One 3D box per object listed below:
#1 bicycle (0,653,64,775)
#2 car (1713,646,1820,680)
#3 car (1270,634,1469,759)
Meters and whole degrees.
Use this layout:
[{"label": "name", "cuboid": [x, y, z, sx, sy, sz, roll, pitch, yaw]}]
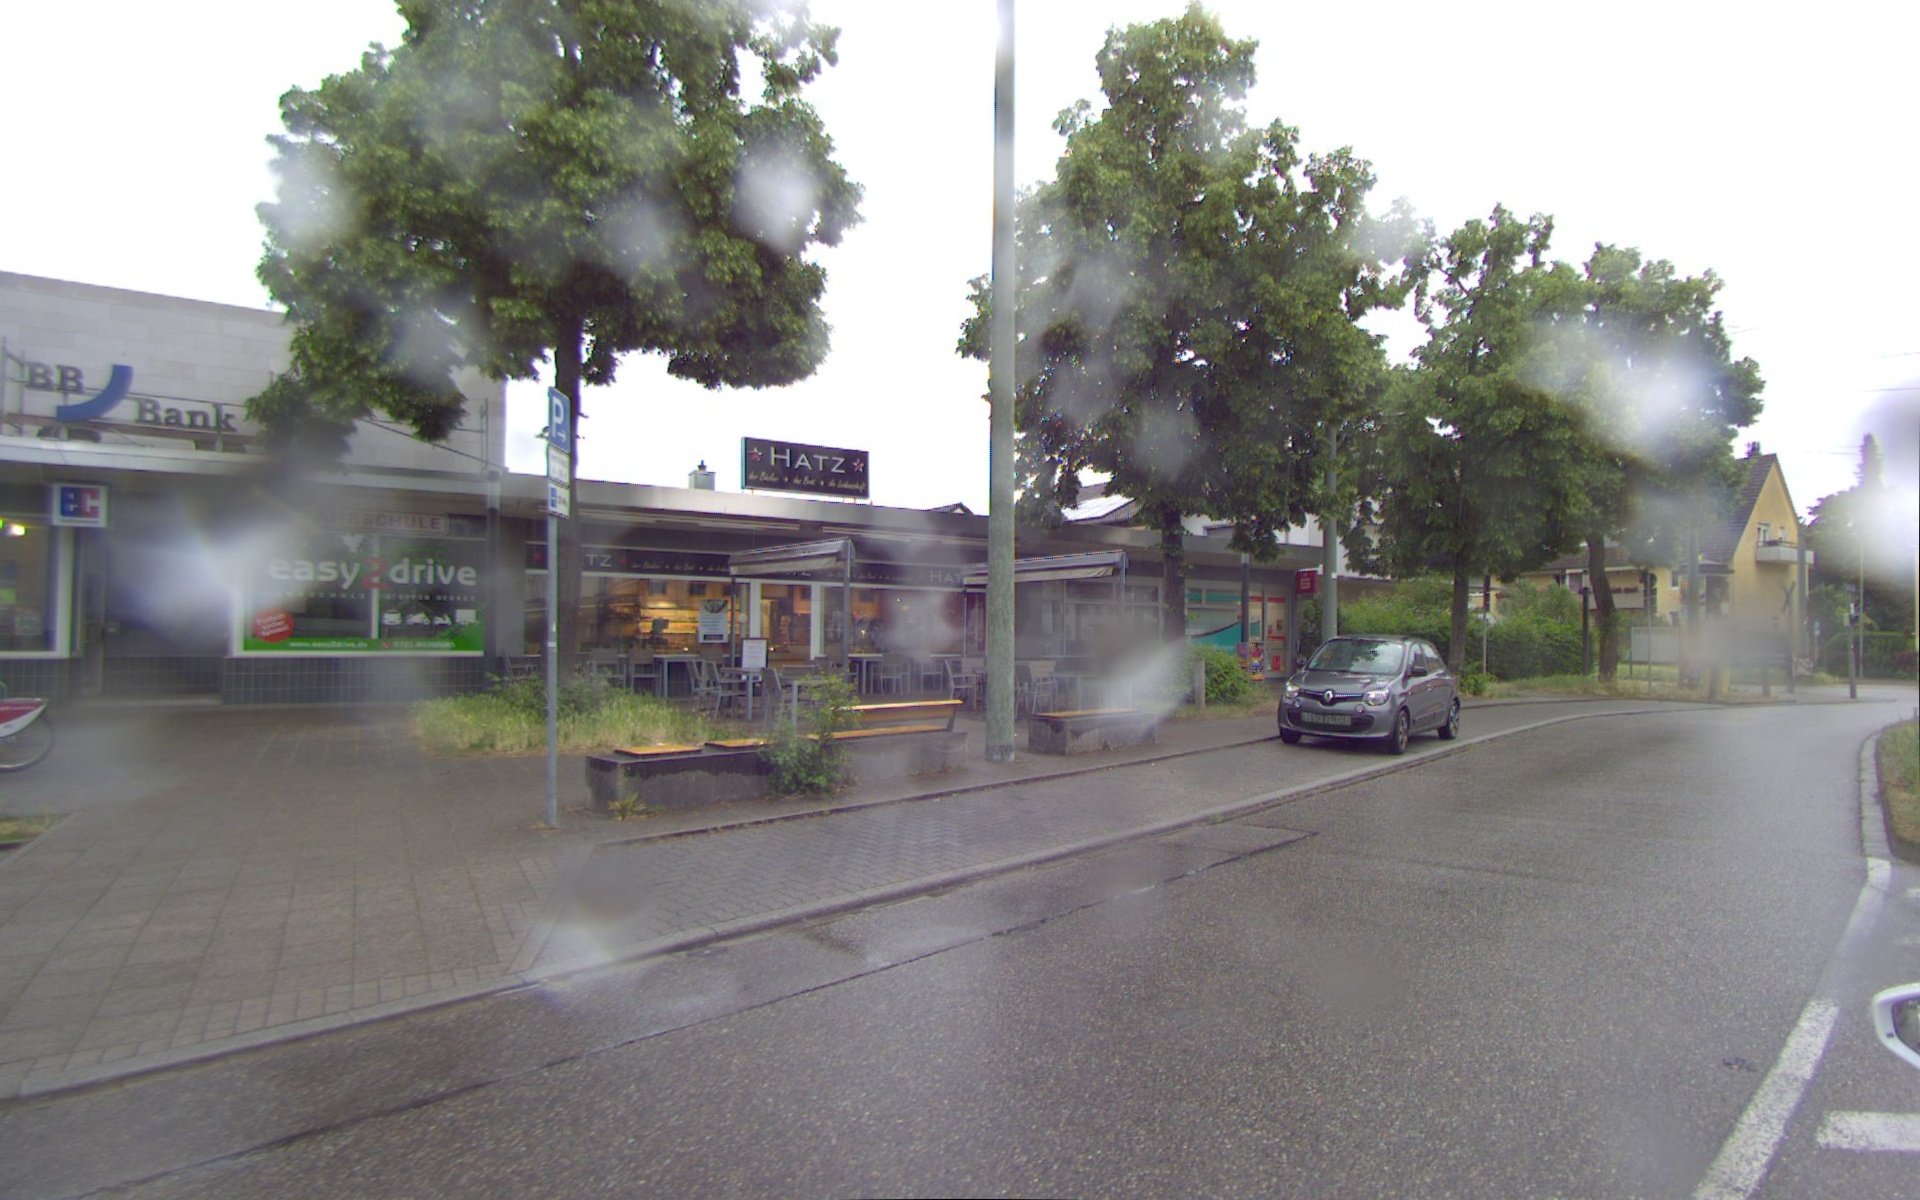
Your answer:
[{"label": "bicycle", "cuboid": [-9.330, 1.052, 9.121, 0.314, 1.122, 1.739, 2, 0, 43]}, {"label": "car", "cuboid": [41.664, 3.253, 51.960, 1.815, 1.476, 3.960, 2, -1, -35]}, {"label": "car", "cuboid": [6.053, 1.295, 14.646, 1.598, 1.516, 3.649, 2, -1, 40]}]
